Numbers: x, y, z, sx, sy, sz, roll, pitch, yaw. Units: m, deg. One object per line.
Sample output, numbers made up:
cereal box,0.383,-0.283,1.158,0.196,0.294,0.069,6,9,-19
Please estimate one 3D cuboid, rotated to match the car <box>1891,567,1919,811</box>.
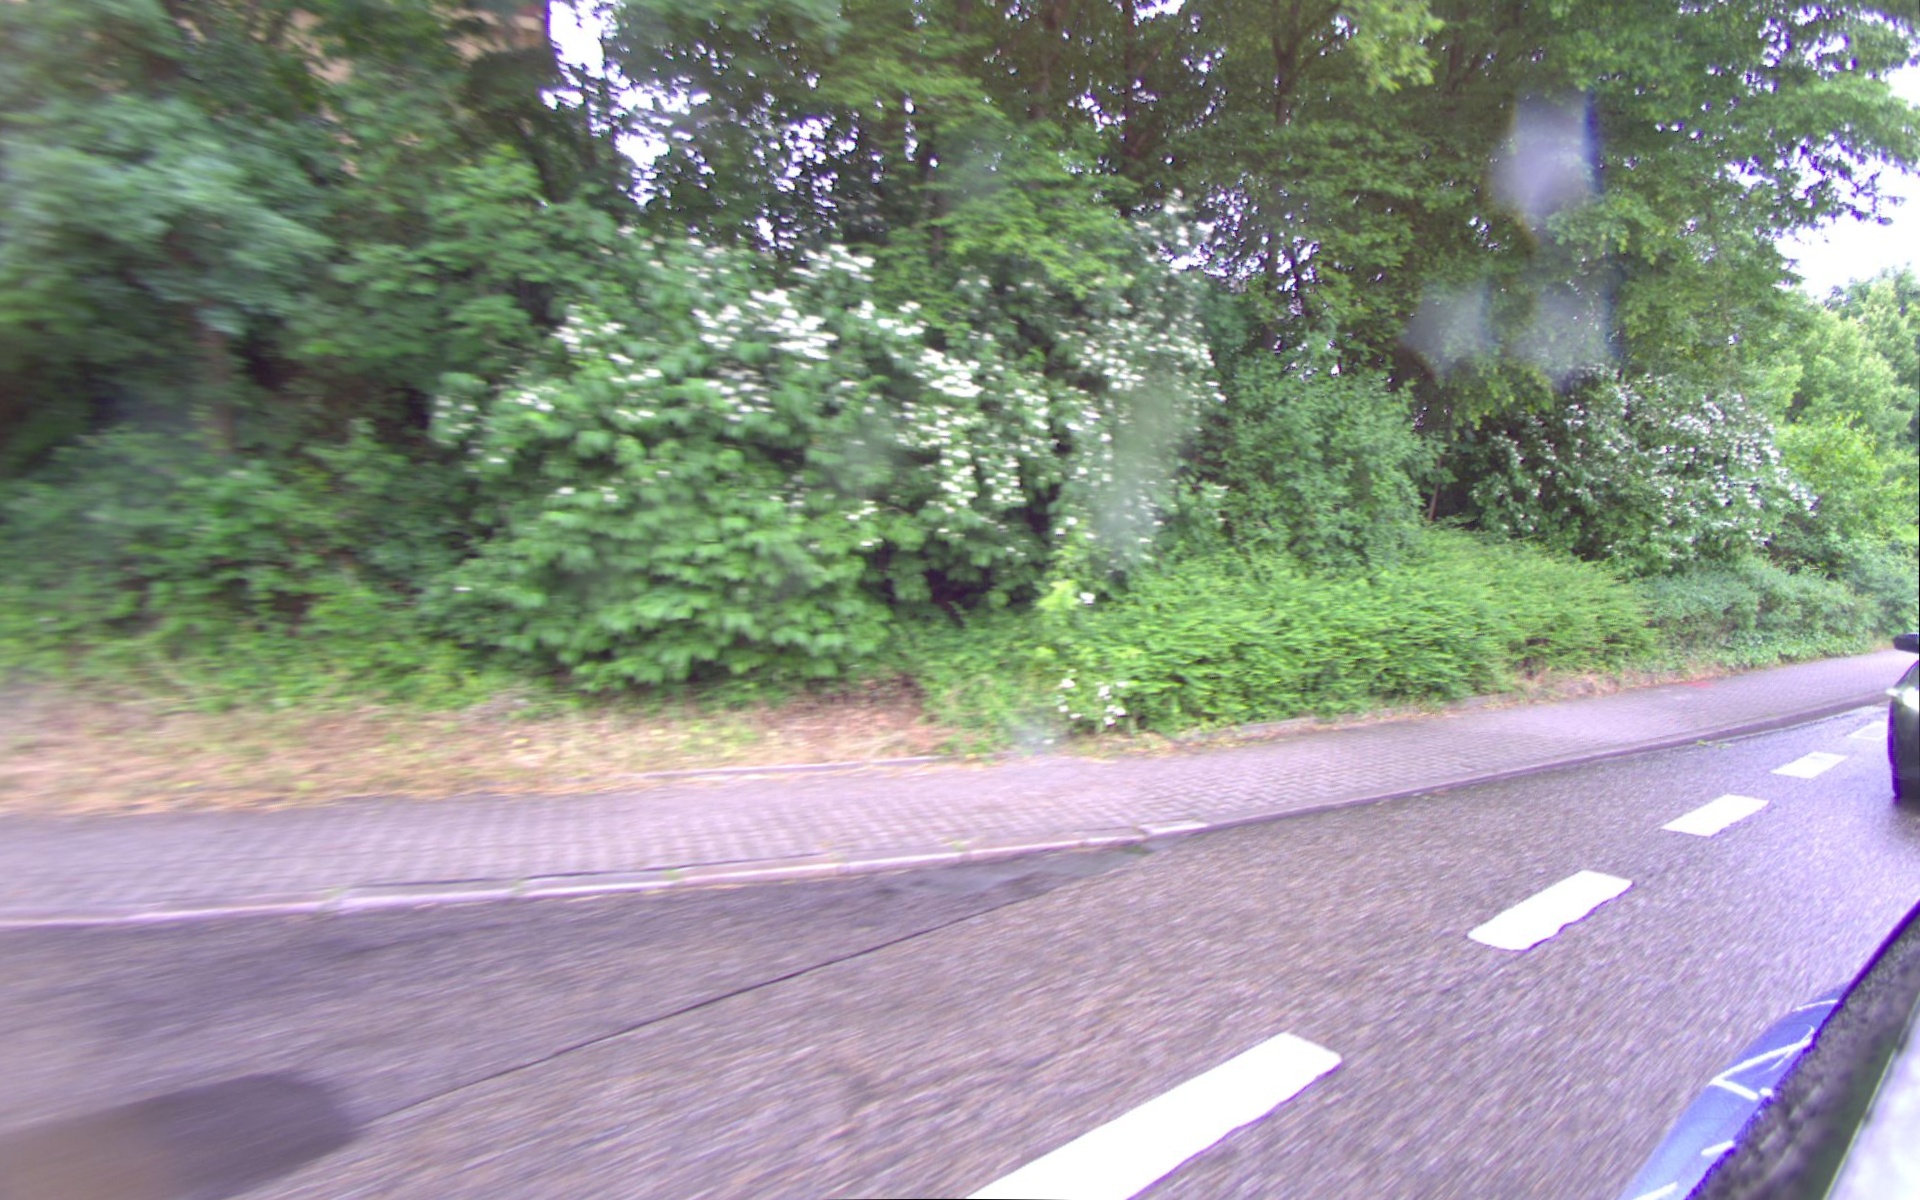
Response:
car,8.263,0.553,7.255,4.048,1.574,1.866,-2,3,-41
